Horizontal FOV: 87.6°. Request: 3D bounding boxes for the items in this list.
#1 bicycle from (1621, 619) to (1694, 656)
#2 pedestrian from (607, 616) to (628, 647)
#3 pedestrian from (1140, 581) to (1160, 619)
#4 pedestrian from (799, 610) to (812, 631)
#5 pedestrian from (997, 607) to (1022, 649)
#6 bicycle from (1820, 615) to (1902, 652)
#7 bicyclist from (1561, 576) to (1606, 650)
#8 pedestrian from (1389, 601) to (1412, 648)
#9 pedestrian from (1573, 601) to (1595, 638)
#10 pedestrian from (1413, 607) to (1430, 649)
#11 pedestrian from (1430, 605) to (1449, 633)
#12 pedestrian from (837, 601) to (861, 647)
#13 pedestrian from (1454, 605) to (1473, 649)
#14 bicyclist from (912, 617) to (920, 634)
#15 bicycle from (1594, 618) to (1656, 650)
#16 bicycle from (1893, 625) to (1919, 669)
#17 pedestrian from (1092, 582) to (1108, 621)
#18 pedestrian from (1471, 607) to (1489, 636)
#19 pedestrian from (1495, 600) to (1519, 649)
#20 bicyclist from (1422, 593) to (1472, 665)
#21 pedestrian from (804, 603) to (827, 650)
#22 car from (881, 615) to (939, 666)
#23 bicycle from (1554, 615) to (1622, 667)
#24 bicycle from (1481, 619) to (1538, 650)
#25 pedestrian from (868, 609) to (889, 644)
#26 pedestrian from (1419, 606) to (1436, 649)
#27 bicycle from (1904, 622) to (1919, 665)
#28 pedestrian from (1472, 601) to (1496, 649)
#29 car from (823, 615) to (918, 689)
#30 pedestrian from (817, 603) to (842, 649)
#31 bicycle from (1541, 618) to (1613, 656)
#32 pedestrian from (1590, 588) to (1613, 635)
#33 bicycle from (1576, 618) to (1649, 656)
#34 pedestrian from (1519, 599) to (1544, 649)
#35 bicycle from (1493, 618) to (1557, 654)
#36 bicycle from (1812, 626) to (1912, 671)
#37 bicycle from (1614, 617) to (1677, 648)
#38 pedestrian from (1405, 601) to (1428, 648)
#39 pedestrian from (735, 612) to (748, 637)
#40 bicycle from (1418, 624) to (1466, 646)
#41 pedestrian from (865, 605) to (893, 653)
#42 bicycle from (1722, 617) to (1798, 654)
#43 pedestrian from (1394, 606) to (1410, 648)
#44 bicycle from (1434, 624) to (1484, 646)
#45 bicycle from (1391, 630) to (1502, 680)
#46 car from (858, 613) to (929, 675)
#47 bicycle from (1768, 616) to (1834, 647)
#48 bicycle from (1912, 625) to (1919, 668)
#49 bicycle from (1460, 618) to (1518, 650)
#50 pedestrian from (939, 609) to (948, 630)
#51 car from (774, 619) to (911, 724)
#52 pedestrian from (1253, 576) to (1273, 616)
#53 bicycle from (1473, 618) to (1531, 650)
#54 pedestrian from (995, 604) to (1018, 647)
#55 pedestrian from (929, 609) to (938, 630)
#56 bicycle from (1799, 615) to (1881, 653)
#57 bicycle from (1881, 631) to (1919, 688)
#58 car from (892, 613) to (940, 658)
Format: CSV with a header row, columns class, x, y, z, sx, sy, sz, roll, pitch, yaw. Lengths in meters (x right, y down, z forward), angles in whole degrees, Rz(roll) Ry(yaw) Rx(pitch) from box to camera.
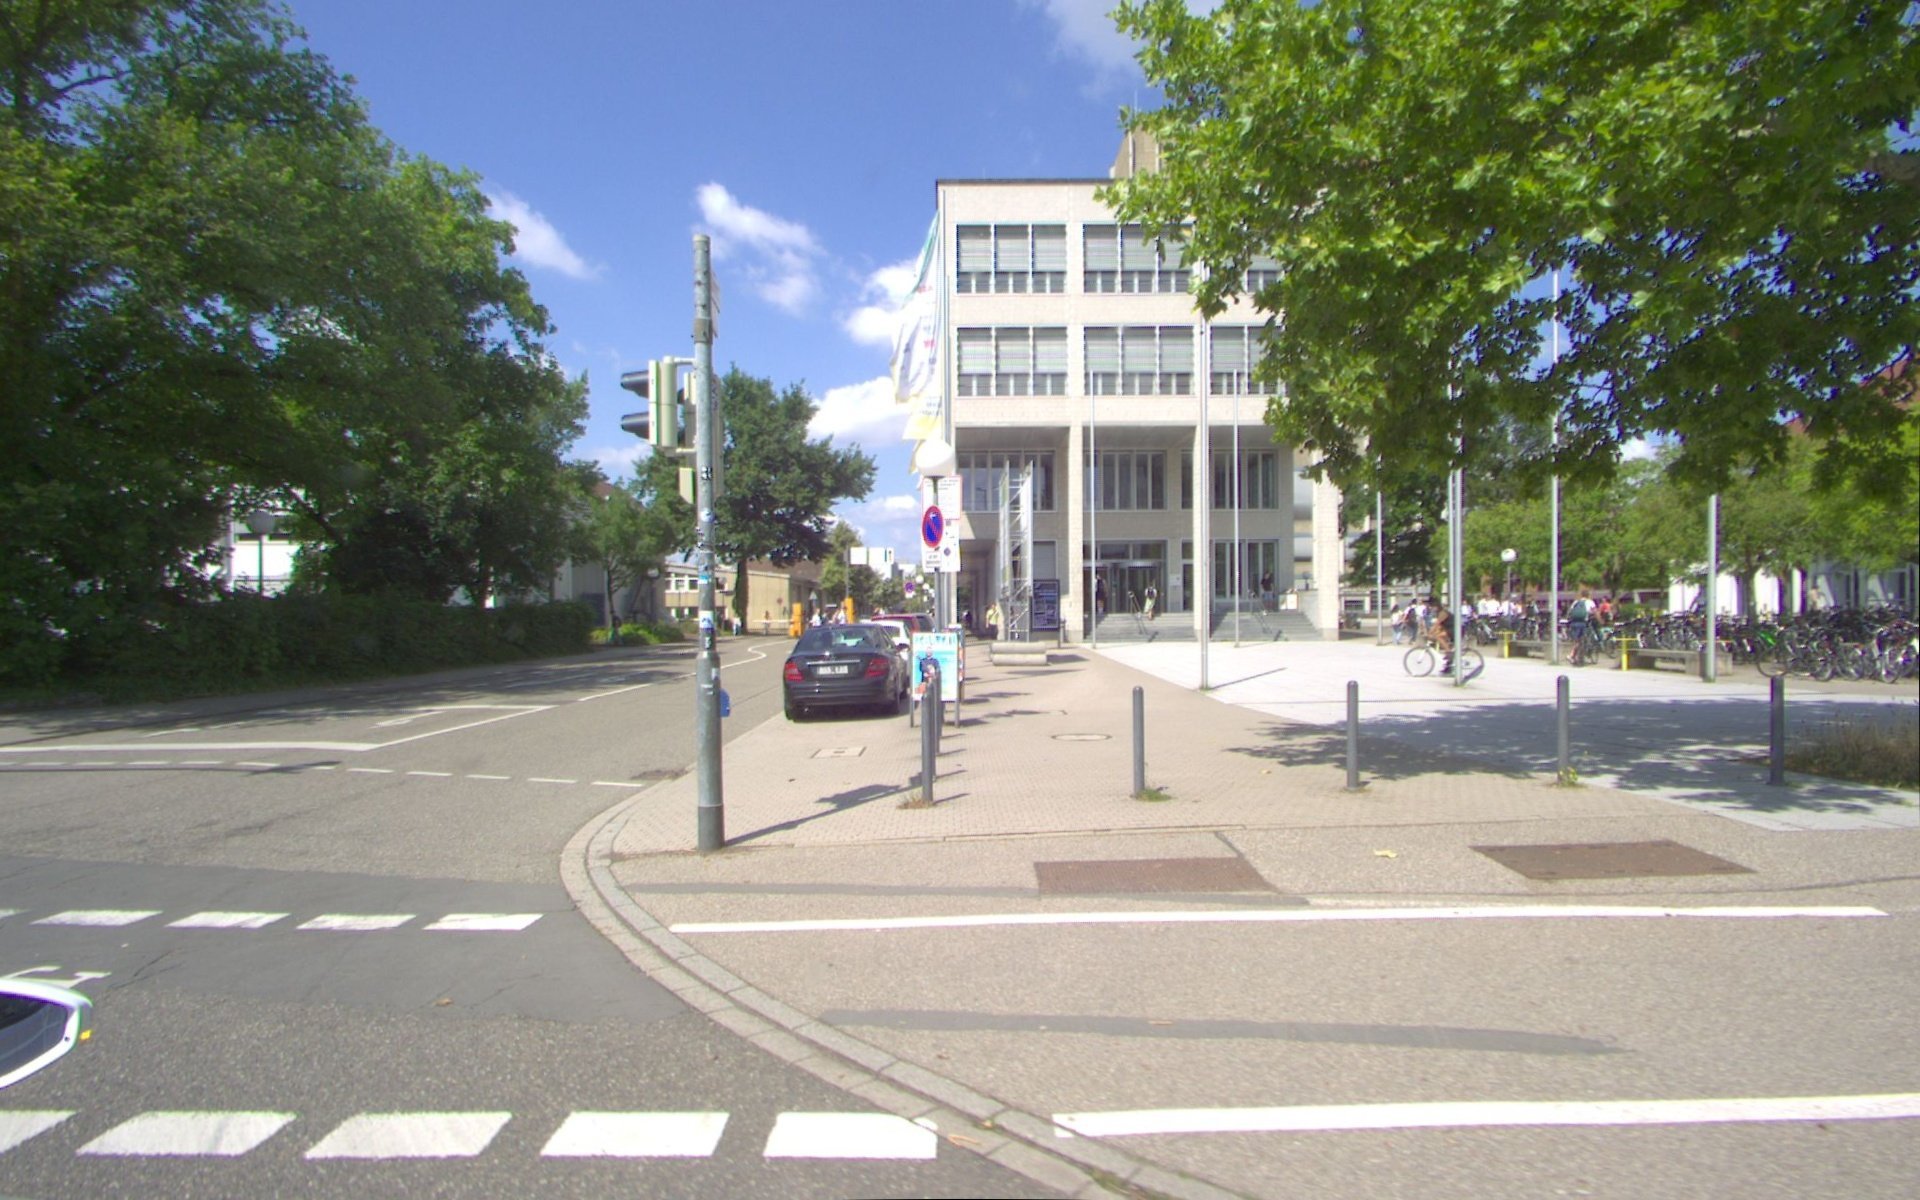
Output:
class,x,y,z,sx,sy,sz,roll,pitch,yaw
bicycle,21.527,1.158,30.935,0.595,1.112,1.759,1,-3,-31
pedestrian,-16.787,1.547,49.093,0.836,1.540,0.521,-1,-2,2
pedestrian,8.263,0.000,43.542,0.706,1.605,0.717,-1,-2,2
pedestrian,-13.947,1.844,90.644,1.039,1.840,0.806,-1,0,-2
pedestrian,1.968,1.102,40.079,0.683,1.661,0.733,0,0,-38
bicycle,27.667,1.047,30.778,0.595,1.112,1.759,1,-3,-31
bicyclist,15.993,0.348,25.682,0.750,1.868,0.660,0,-2,-29
pedestrian,16.532,0.929,37.609,0.622,1.768,0.716,-1,-2,13
pedestrian,30.851,0.968,49.492,0.706,1.799,0.631,1,-2,-31
pedestrian,25.066,1.548,54.428,0.704,2.257,0.633,-1,-2,18
pedestrian,25.492,1.027,53.259,0.702,1.454,0.634,-1,-2,1
pedestrian,-4.771,1.016,43.081,0.714,1.951,0.748,0,0,27
pedestrian,26.234,1.425,52.187,0.704,2.257,0.633,-1,-2,18
bicyclist,-5.509,3.191,124.433,0.971,2.158,1.037,-1,-2,-1
bicycle,23.683,1.234,35.688,0.595,1.112,1.759,1,-3,-31
bicycle,24.431,1.158,24.855,0.595,1.112,1.759,1,-3,-31
pedestrian,6.299,0.080,44.944,0.622,1.687,0.717,-1,-2,2
pedestrian,26.865,1.128,51.730,0.704,1.448,0.633,-1,-2,18
pedestrian,25.354,1.150,46.414,0.844,2.257,0.630,-2,-2,37
bicyclist,11.114,0.655,22.849,0.921,1.584,0.659,-1,0,35
pedestrian,-6.077,1.125,42.093,0.772,1.951,0.592,0,0,22
car,-1.574,1.274,32.787,1.691,1.549,4.001,-1,-1,0
bicycle,16.142,1.048,25.735,1.847,1.313,0.659,1,-2,-29
bicycle,20.077,1.271,36.593,0.595,1.112,1.759,1,-3,-31
pedestrian,-4.089,1.323,50.002,0.616,1.740,1.034,-1,0,-32
pedestrian,24.516,1.460,52.529,0.704,2.257,0.633,-1,-2,18
bicycle,25.037,1.087,25.200,0.595,1.112,1.759,1,-3,-31
pedestrian,24.726,1.197,47.241,0.625,2.257,0.713,0,-2,-31
car,-1.896,1.099,22.495,1.690,1.418,4.439,-3,-1,0
pedestrian,-5.580,1.119,42.764,0.771,1.951,0.733,0,0,22
bicycle,18.533,1.125,30.103,0.595,1.112,1.759,1,-3,-31
pedestrian,31.285,0.563,48.822,0.706,2.257,0.631,0,-2,-31
bicycle,19.604,1.123,30.117,0.595,1.112,1.759,1,-3,-31
pedestrian,26.252,1.118,45.987,0.625,2.257,0.713,0,-2,-31
bicycle,18.398,1.186,32.634,0.595,1.112,1.759,1,-3,-31
bicycle,22.652,1.222,25.182,0.595,1.112,1.759,1,-3,-31
bicycle,24.797,1.186,36.240,0.595,1.112,1.759,1,-3,-31
pedestrian,17.194,0.927,37.717,0.622,1.768,0.716,-1,-2,13
pedestrian,-14.752,1.652,67.498,0.701,1.648,0.883,0,0,-2
bicycle,18.572,1.332,38.598,1.735,0.803,0.520,0,0,-13
pedestrian,-3.357,1.200,41.651,1.077,1.945,1.021,0,0,1
bicycle,25.267,1.136,31.659,0.595,1.112,1.759,1,-3,-31
pedestrian,23.978,1.451,54.353,0.704,2.257,0.633,-1,-2,18
bicycle,18.665,1.313,37.467,1.735,0.803,0.520,0,0,-13
bicycle,11.106,1.266,22.879,2.128,1.092,0.897,-3,-2,38
car,-1.777,1.149,27.676,1.588,1.516,4.147,-3,-1,0
bicycle,31.085,1.167,37.042,0.595,1.112,1.759,1,-3,-31
bicycle,25.581,1.179,25.547,0.595,1.112,1.759,1,-3,-31
bicycle,18.883,1.240,35.793,0.595,1.112,1.759,1,-3,-31
pedestrian,-1.446,1.715,88.270,0.754,1.804,0.910,-2,0,-2
car,-1.806,1.068,16.802,1.690,1.418,4.949,-2,-1,0
pedestrian,14.232,-0.171,47.032,0.706,1.820,0.717,-1,-2,2
bicycle,19.522,1.238,36.111,0.595,1.112,1.759,1,-3,-31
pedestrian,1.936,1.066,41.808,0.903,1.763,1.001,0,0,0
pedestrian,-2.353,1.733,88.429,0.683,1.804,1.085,-2,0,-2
bicycle,26.815,1.045,30.543,0.595,1.112,1.759,1,-3,-31
bicycle,19.310,1.157,19.604,0.595,1.112,1.759,1,-3,-30
car,-1.719,1.321,38.458,1.691,1.549,4.566,-2,-1,-3
